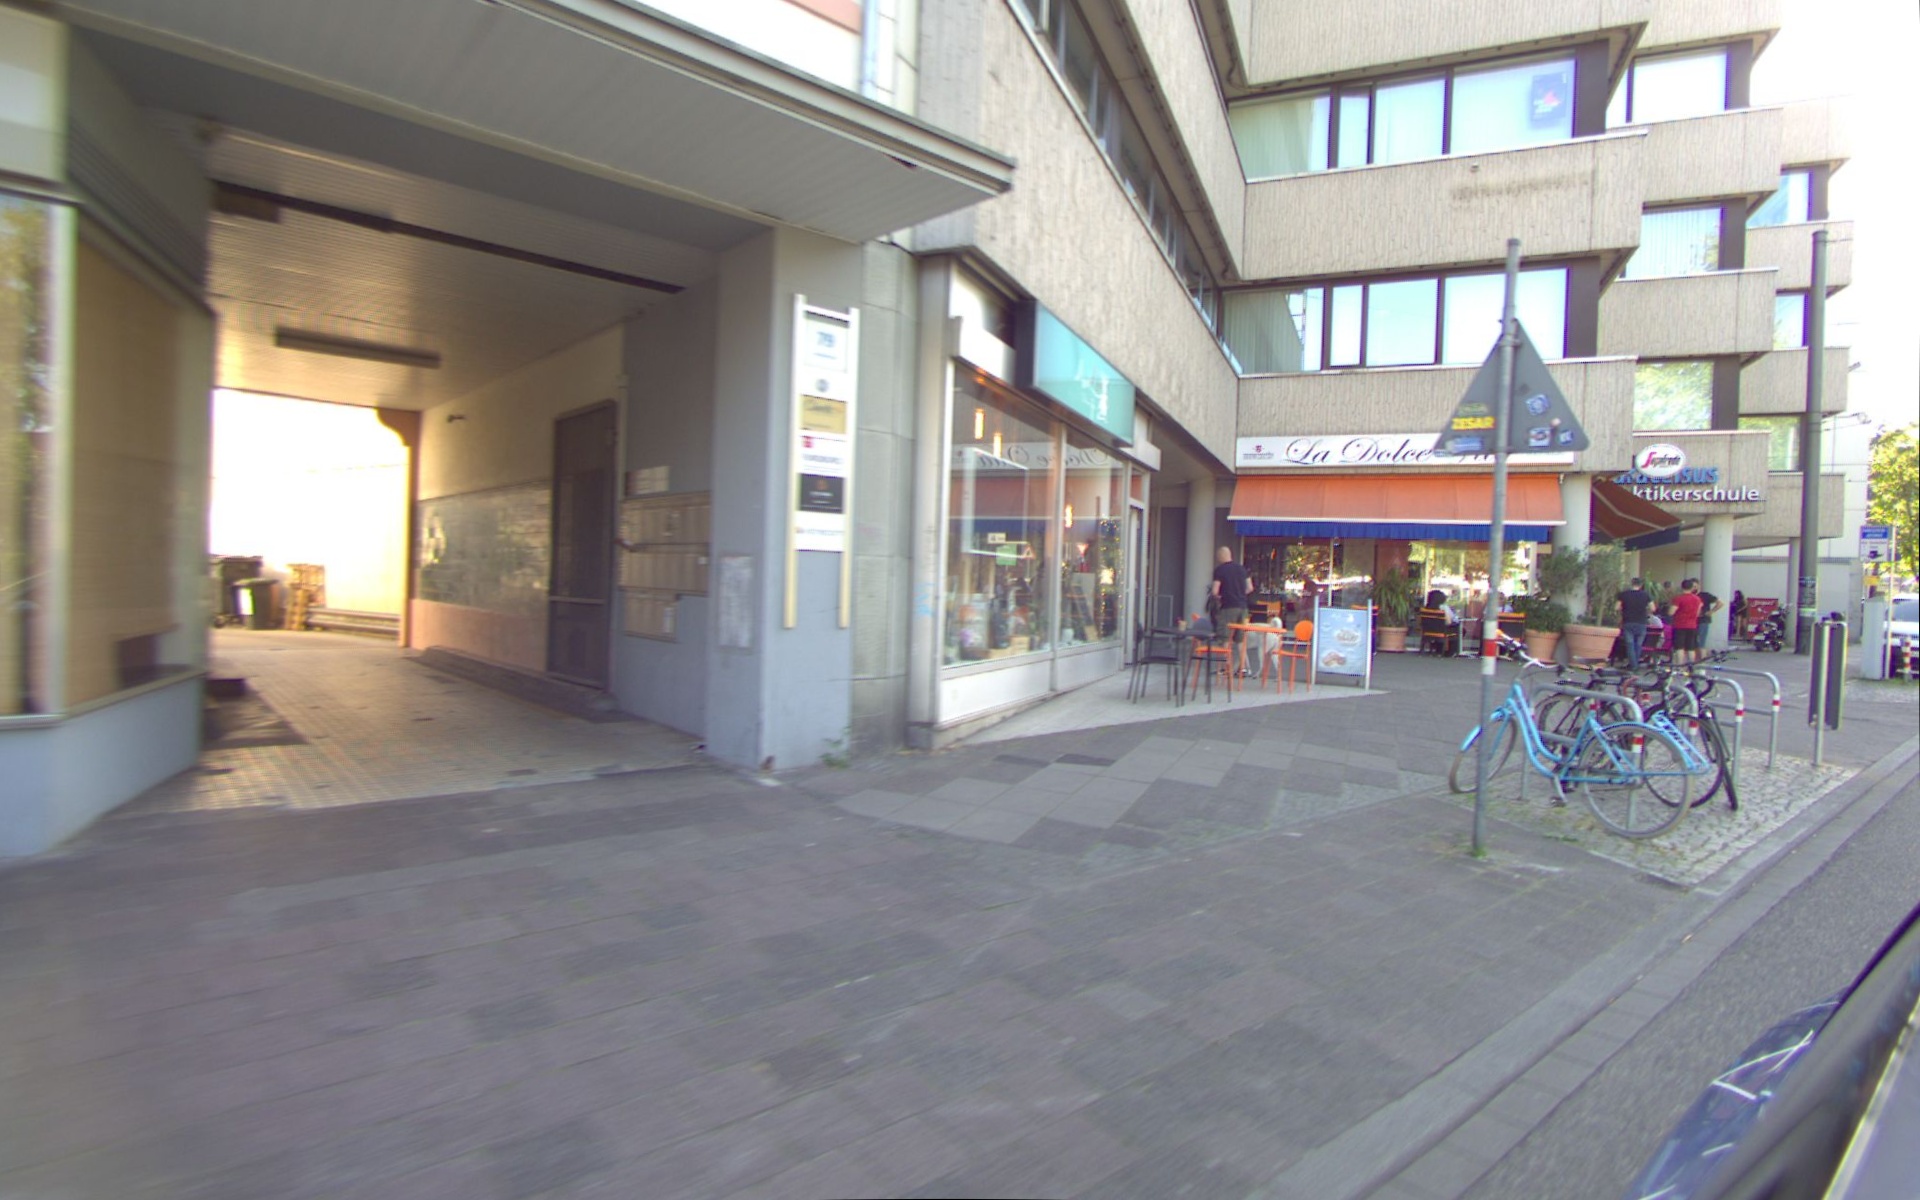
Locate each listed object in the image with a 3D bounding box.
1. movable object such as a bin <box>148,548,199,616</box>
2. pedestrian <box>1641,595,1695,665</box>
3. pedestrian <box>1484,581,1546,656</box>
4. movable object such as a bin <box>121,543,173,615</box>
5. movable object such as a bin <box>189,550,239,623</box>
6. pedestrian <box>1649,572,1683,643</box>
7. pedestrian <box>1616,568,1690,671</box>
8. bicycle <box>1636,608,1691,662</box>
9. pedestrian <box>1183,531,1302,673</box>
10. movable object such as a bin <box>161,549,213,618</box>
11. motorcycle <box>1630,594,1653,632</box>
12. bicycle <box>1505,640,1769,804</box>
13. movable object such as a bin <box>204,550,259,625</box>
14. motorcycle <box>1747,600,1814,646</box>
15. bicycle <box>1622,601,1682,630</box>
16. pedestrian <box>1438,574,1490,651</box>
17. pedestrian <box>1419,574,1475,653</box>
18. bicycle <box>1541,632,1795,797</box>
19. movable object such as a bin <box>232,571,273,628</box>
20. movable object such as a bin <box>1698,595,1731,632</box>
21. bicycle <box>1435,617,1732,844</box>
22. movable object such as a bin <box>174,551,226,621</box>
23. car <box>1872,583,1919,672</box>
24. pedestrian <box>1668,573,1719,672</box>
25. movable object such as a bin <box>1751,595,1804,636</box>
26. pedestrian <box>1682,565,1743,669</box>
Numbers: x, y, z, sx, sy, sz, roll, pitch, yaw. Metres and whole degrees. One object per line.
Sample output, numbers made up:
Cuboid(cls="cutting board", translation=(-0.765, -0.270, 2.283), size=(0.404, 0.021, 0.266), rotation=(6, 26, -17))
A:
Cuboid(cls="movable object such as a bin", translation=(-15.953, -0.364, 20.529), size=(0.570, 1.346, 0.722), rotation=(0, 1, 39))
Cuboid(cls="pedestrian", translation=(13.424, 0.556, 19.187), size=(0.613, 1.251, 0.632), rotation=(0, 4, -37))
Cuboid(cls="pedestrian", translation=(10.375, 0.330, 18.918), size=(0.839, 1.308, 0.820), rotation=(4, 3, 37))
Cuboid(cls="movable object such as a bin", translation=(-16.590, -0.424, 20.659), size=(0.570, 1.445, 0.722), rotation=(0, 1, 39))
Cuboid(cls="movable object such as a bin", translation=(-14.004, -0.254, 18.997), size=(0.504, 1.346, 0.656), rotation=(0, 0, 39))
Cuboid(cls="pedestrian", translation=(18.750, 0.188, 26.874), size=(0.700, 1.838, 0.708), rotation=(0, 0, 33))
Cuboid(cls="pedestrian", translation=(12.276, 0.328, 17.958), size=(0.834, 1.731, 0.715), rotation=(4, 2, 21))
Cuboid(cls="bicycle", translation=(14.630, 0.701, 21.029), size=(1.615, 1.047, 0.564), rotation=(-1, 1, -41))
Cuboid(cls="pedestrian", translation=(3.695, 0.017, 13.294), size=(1.113, 1.764, 1.024), rotation=(0, 1, -27))
Cuboid(cls="movable object such as a bin", translation=(-15.400, -0.326, 20.164), size=(0.570, 1.346, 0.722), rotation=(0, 1, 39))
Cuboid(cls="motorcycle", translation=(21.929, 0.408, 32.561), size=(0.510, 1.183, 2.073), rotation=(0, -1, 37))
Cuboid(cls="bicycle", translation=(5.094, 0.866, 7.752), size=(0.419, 1.016, 1.712), rotation=(0, 1, -25))
Cuboid(cls="movable object such as a bin", translation=(-13.367, -0.231, 18.569), size=(0.504, 1.346, 0.722), rotation=(0, 1, 39))
Cuboid(cls="motorcycle", translation=(22.943, 0.616, 28.295), size=(2.007, 1.168, 0.767), rotation=(-1, 4, -31))
Cuboid(cls="bicycle", translation=(24.328, 0.535, 35.616), size=(0.668, 0.993, 1.860), rotation=(1, 0, -7))
Cuboid(cls="pedestrian", translation=(9.665, 0.225, 19.435), size=(0.835, 1.420, 0.824), rotation=(2, 0, 24))
Cuboid(cls="pedestrian", translation=(8.999, 0.242, 18.726), size=(0.833, 1.420, 0.748), rotation=(0, -1, 20))
Cuboid(cls="bicycle", translation=(5.440, 0.825, 7.901), size=(0.336, 1.075, 1.688), rotation=(0, 1, -25))
Cuboid(cls="movable object such as a bin", translation=(-12.744, -0.017, 18.241), size=(0.391, 1.013, 0.514), rotation=(0, 0, 37))
Cuboid(cls="movable object such as a bin", translation=(28.967, 0.507, 38.861), size=(0.836, 1.401, 0.795), rotation=(0, 1, -33))
Cuboid(cls="bicycle", translation=(4.063, 0.770, 6.747), size=(0.645, 1.258, 1.630), rotation=(0, 1, -21))
Cuboid(cls="movable object such as a bin", translation=(-14.890, -0.278, 19.834), size=(0.504, 1.346, 0.722), rotation=(0, 1, 39))
Cuboid(cls="car", translation=(21.432, 0.542, 21.958), size=(4.235, 1.835, 1.997), rotation=(-1, 1, -42))
Cuboid(cls="pedestrian", translation=(13.249, 0.388, 18.284), size=(0.685, 1.736, 0.585), rotation=(0, 0, -38))
Cuboid(cls="movable object such as a bin", translation=(30.113, 0.543, 37.273), size=(0.940, 1.451, 1.305), rotation=(0, 1, -33))
Cuboid(cls="pedestrian", translation=(14.109, 0.303, 18.970), size=(0.599, 1.878, 0.673), rotation=(0, 4, -37))
